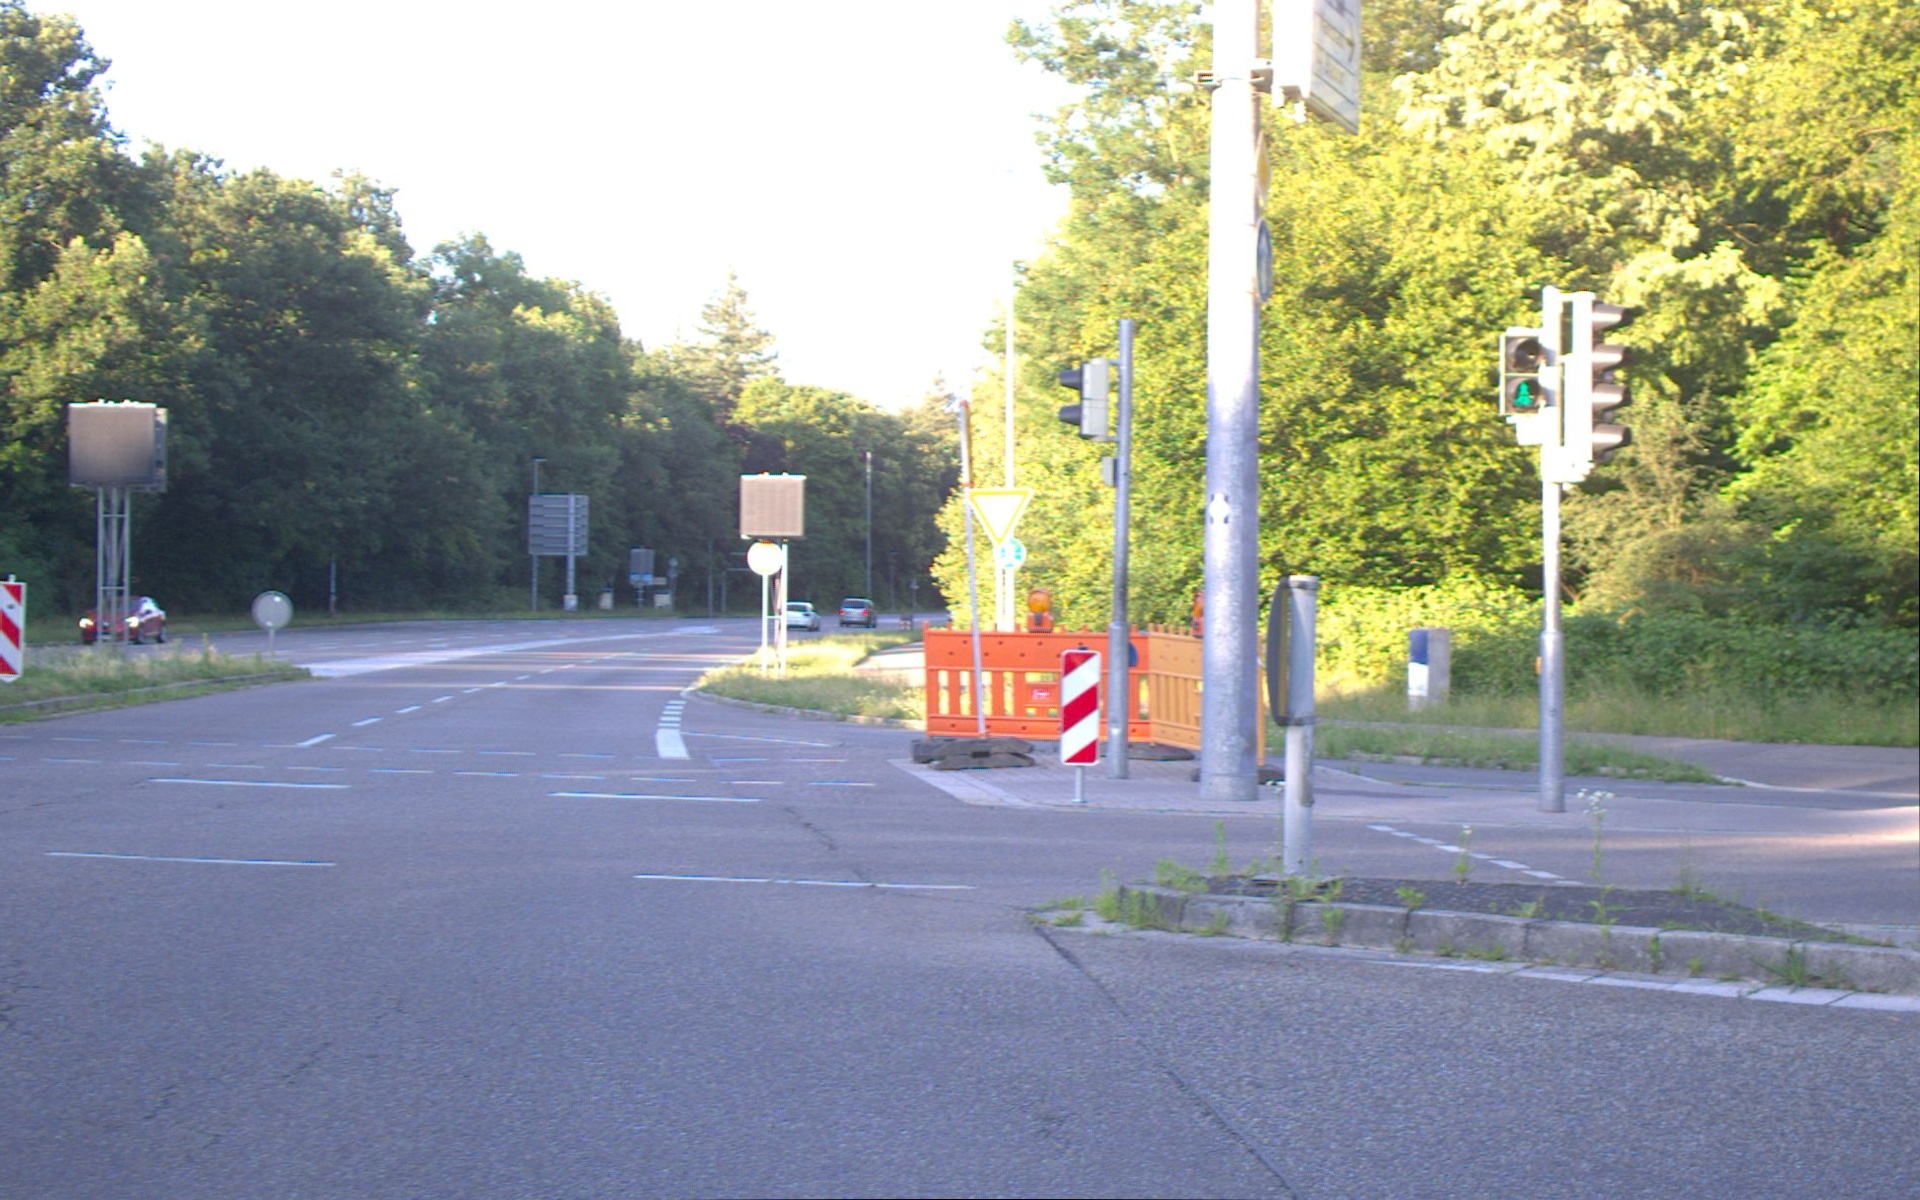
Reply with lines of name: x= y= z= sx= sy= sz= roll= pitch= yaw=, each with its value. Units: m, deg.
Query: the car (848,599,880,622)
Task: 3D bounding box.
car: x=-5.478 y=0.597 z=196.461 sx=1.456 sy=1.240 sz=2.963 roll=1 pitch=0 yaw=6

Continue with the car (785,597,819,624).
car: x=-7.903 y=0.520 z=172.108 sx=1.547 sy=1.343 sz=3.114 roll=1 pitch=0 yaw=1

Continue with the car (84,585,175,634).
car: x=-24.918 y=0.275 z=103.255 sx=1.877 sy=1.417 sz=4.234 roll=1 pitch=0 yaw=-3

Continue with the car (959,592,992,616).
car: x=1.013 y=0.241 z=224.731 sx=1.578 sy=1.529 sz=3.676 roll=1 pitch=0 yaw=9
